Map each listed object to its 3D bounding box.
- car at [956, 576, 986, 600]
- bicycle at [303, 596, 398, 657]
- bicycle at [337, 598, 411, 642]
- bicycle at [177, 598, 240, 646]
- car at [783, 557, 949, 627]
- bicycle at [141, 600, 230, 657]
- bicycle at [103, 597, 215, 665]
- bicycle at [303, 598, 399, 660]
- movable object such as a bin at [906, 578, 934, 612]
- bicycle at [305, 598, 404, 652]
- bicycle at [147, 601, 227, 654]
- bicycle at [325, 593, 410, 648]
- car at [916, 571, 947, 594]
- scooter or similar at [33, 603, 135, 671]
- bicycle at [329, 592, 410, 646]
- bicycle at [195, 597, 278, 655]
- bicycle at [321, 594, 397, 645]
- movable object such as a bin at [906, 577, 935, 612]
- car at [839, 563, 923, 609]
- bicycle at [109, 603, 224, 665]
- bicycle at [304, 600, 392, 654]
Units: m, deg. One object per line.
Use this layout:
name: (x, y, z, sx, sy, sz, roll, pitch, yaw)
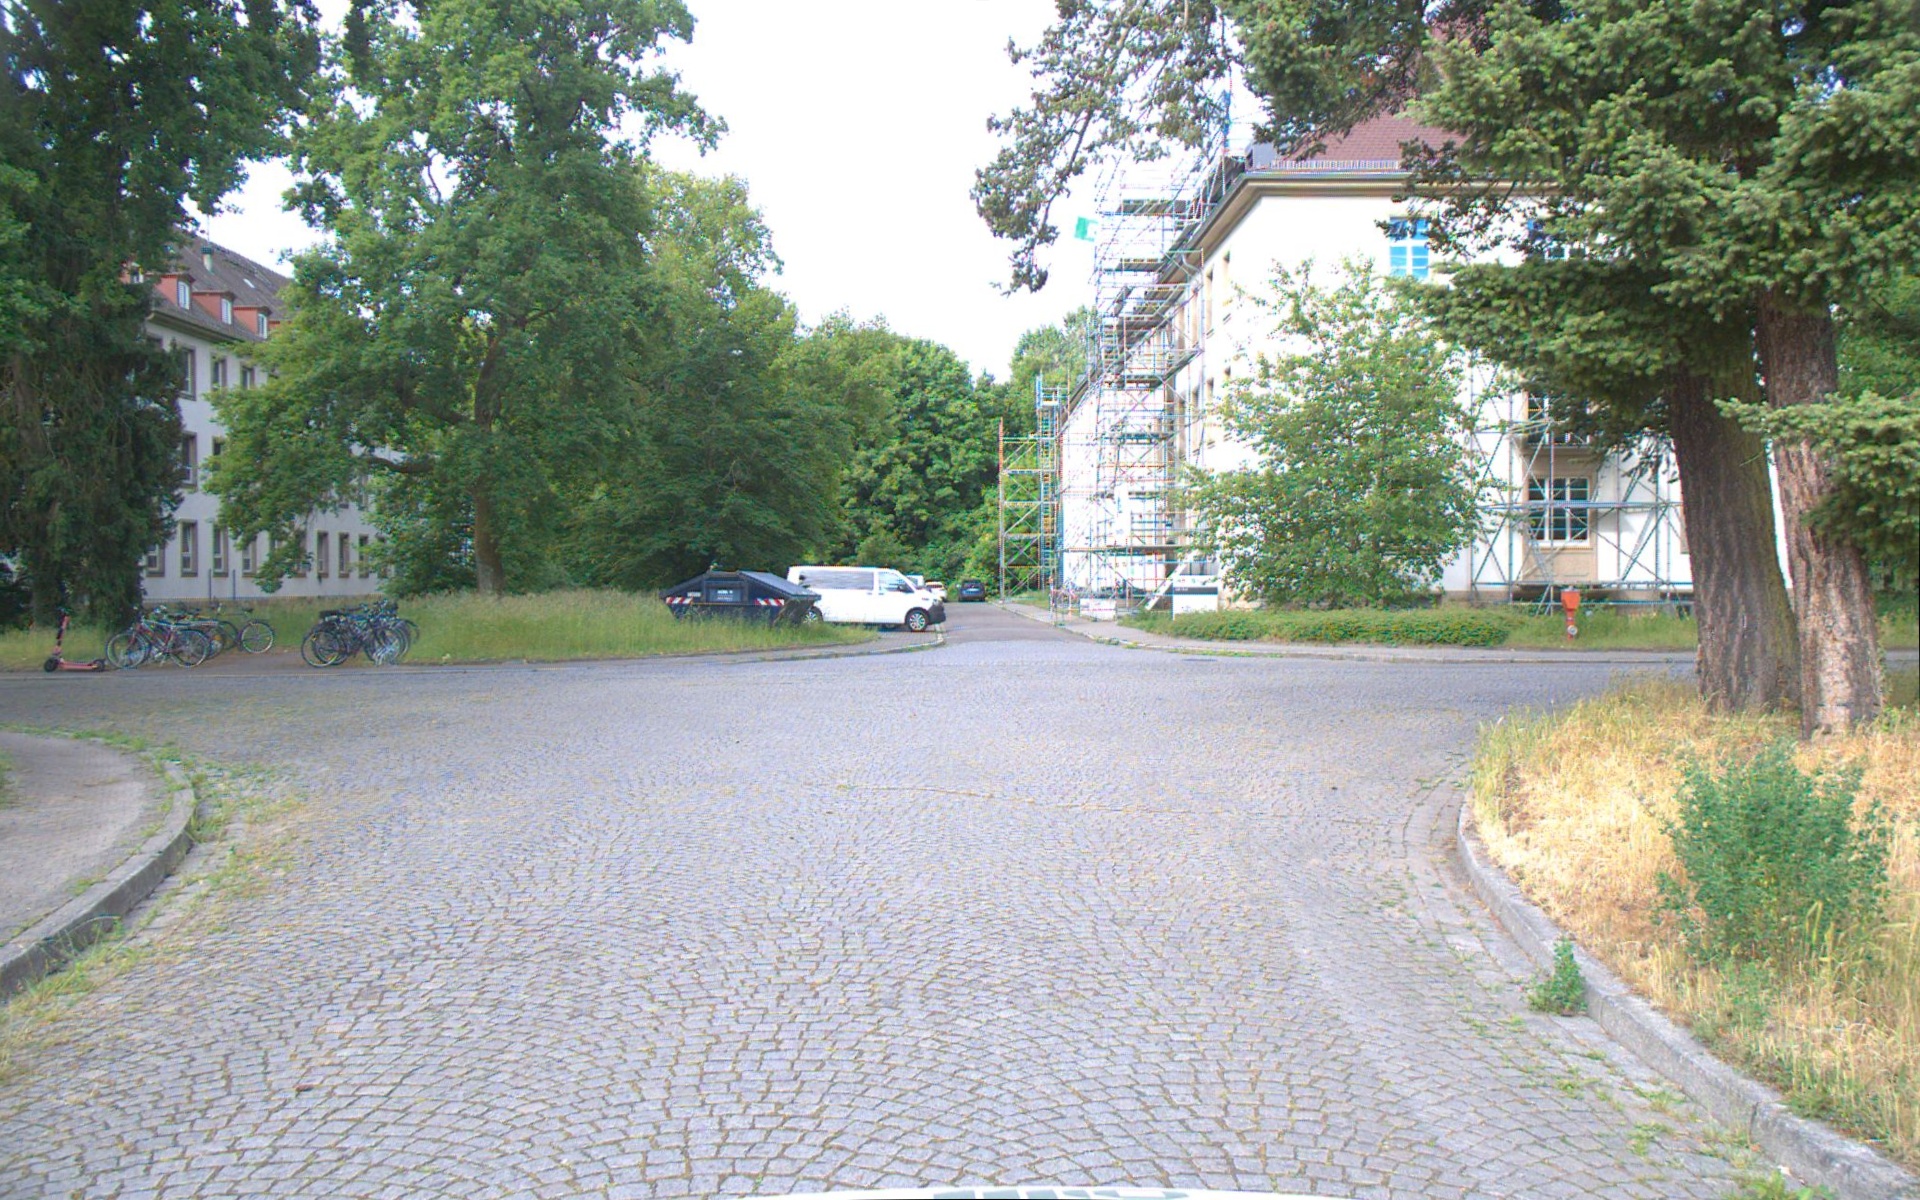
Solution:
car: (0.821, -0.827, 118.503, 2.021, 1.621, 4.001, 2, 0, 2)
bicycle: (-12.425, 0.532, 33.744, 1.767, 1.122, 0.698, -2, 3, -21)
bicycle: (-13.617, 0.465, 38.455, 1.593, 0.926, 0.524, -2, 3, -21)
bicycle: (-17.106, 0.502, 37.667, 1.241, 1.047, 0.431, -2, -1, -21)
car: (-2.943, -0.257, 52.268, 5.096, 2.096, 2.187, 1, 0, -2)
bicycle: (-15.909, 0.574, 34.005, 1.608, 1.092, 0.534, -1, 3, -31)
bicycle: (-15.370, 0.586, 31.796, 1.867, 1.244, 0.640, 0, 2, -21)
bicycle: (-12.155, 0.558, 33.056, 1.742, 1.122, 0.698, -2, 3, -20)
movable object such as a bin: (-1.726, -0.229, 72.133, 1.159, 1.432, 0.975, 2, 0, -1)
bicycle: (-12.882, 0.516, 35.221, 1.925, 1.022, 0.682, -2, 3, -21)
bicycle: (-16.512, 0.570, 35.318, 1.496, 1.053, 0.539, -1, 3, -31)
bicycle: (-13.192, 0.451, 36.854, 1.745, 1.124, 0.538, -2, 3, -21)
car: (-2.072, -1.234, 118.256, 1.962, 1.575, 3.955, 2, 0, -4)
scooter or similar: (-16.403, 0.692, 31.004, 1.515, 1.215, 0.682, -1, 1, 2)
bicycle: (-13.340, 0.416, 37.391, 1.672, 1.135, 0.538, -2, 3, -21)
bicycle: (-15.895, 0.554, 36.340, 1.619, 1.206, 0.569, -1, 3, -27)
bicycle: (-13.741, 0.432, 37.831, 1.593, 1.077, 0.524, -2, 3, -21)
movable object such as a bin: (-1.691, -0.225, 70.925, 1.159, 1.432, 0.975, 2, 0, -1)
car: (-3.827, -0.648, 79.685, 3.909, 2.049, 1.919, 2, 0, -5)
bicycle: (-15.544, 0.657, 32.430, 1.956, 1.133, 0.640, -1, 3, -21)
bicycle: (-12.717, 0.555, 34.409, 1.666, 1.019, 0.628, -2, 3, -21)
